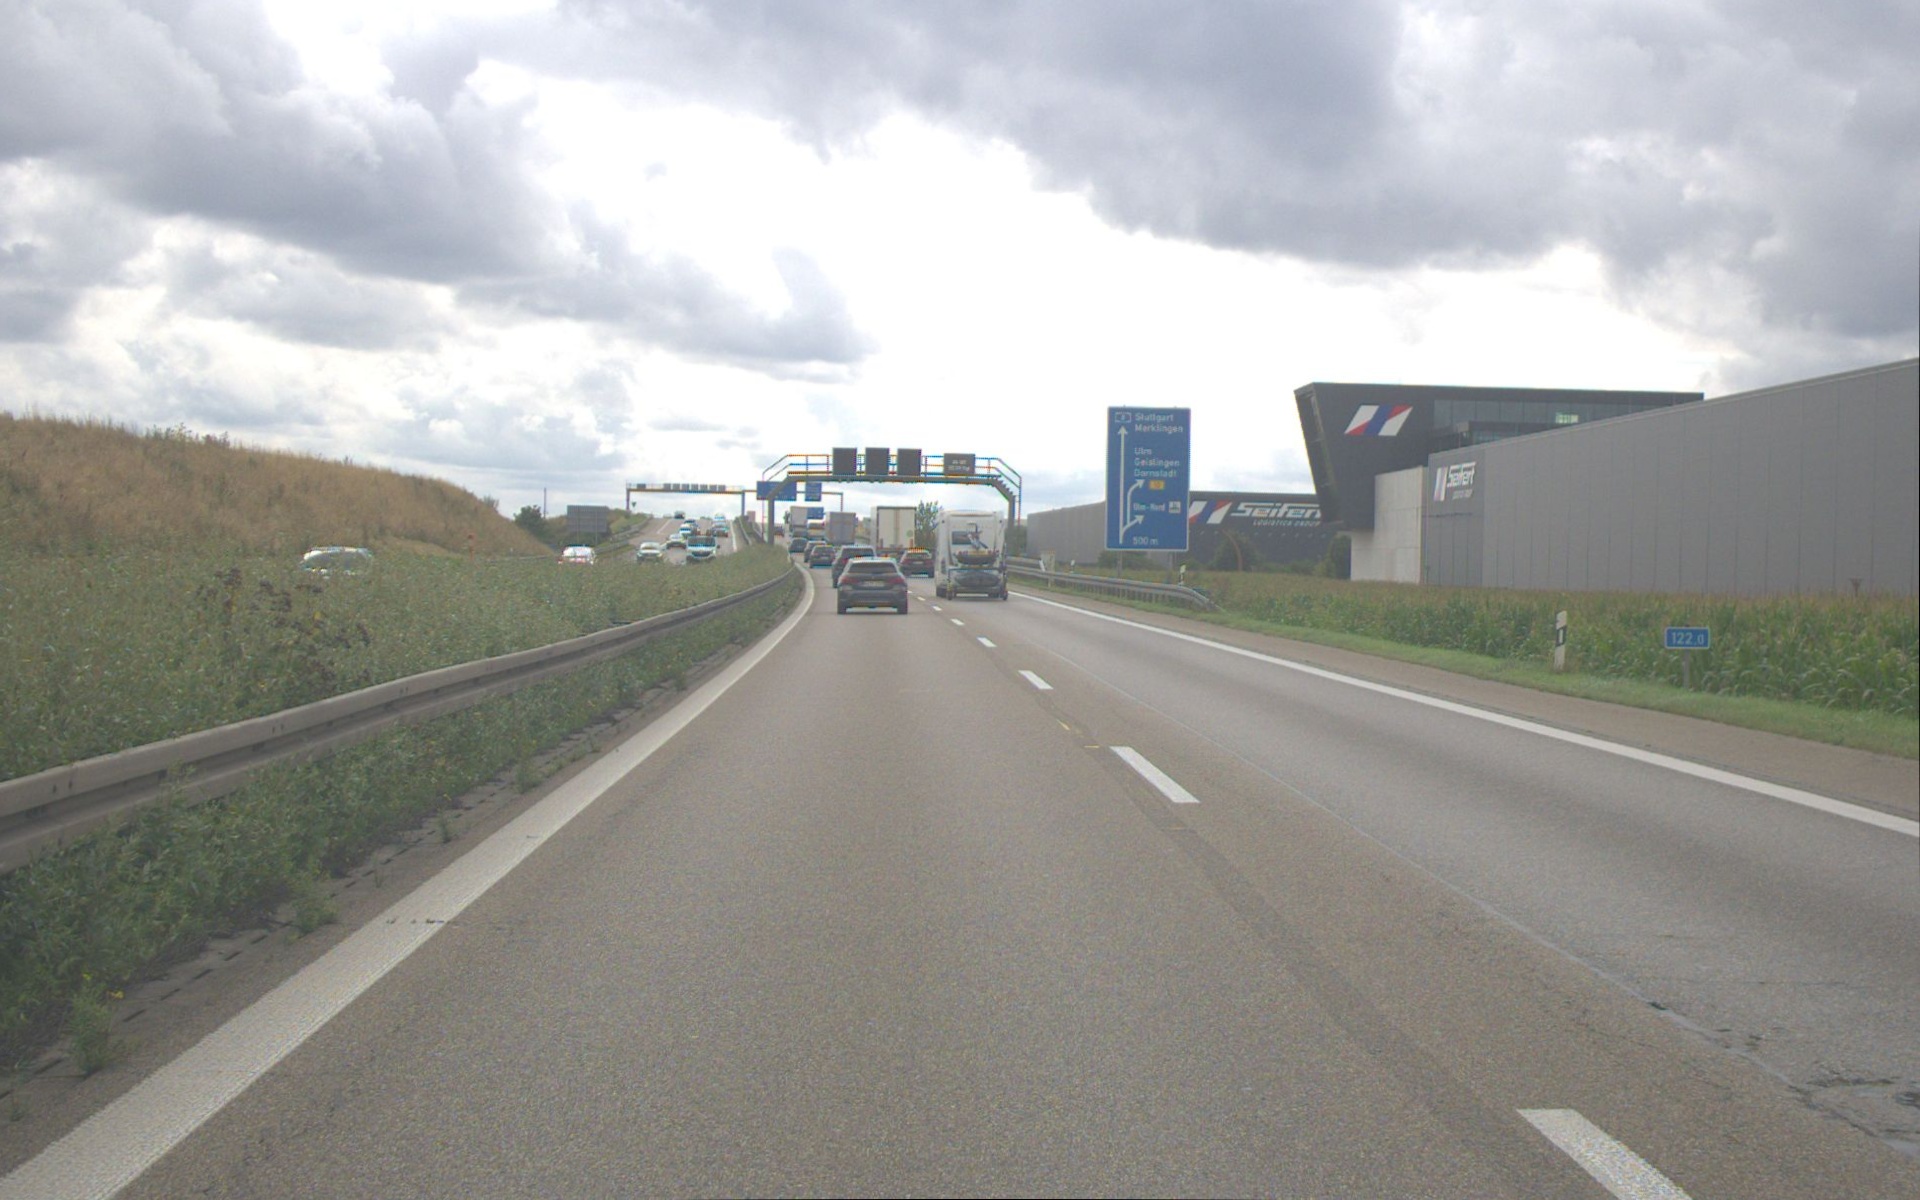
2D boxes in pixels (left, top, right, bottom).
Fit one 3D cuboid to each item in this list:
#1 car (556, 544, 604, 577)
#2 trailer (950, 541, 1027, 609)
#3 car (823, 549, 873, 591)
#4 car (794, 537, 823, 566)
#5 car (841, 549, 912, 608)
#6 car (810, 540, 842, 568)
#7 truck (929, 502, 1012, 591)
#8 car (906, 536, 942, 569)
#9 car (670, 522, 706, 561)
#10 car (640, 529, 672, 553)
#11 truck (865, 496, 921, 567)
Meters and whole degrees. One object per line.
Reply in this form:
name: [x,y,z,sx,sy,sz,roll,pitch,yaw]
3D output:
car: [-16.776,-1.738,151.965,1.724,1.399,4.342,1,1,-1]
trailer: [0.906,-0.821,110.992,2.338,2.129,4.000,1,1,-1]
car: [-4.611,-1.258,142.068,1.945,1.679,4.000,1,1,-1]
car: [-11.021,-3.532,250.516,1.993,2.007,4.000,1,1,-1]
car: [-2.119,-0.570,88.136,1.746,1.448,4.000,1,1,-1]
car: [-8.594,-2.965,221.154,1.943,1.769,3.696,1,1,-1]
truck: [0.328,-1.819,118.056,2.481,2.940,5.815,1,1,-3]
car: [-1.920,-2.509,180.462,1.801,1.679,4.000,1,1,-1]
car: [-16.844,-3.611,213.465,1.993,2.340,5.872,1,1,-3]
car: [-19.675,-3.812,222.526,1.772,1.449,4.000,1,1,-1]
truck: [-4.461,-4.468,225.931,3.339,4.519,8.018,1,0,-3]
